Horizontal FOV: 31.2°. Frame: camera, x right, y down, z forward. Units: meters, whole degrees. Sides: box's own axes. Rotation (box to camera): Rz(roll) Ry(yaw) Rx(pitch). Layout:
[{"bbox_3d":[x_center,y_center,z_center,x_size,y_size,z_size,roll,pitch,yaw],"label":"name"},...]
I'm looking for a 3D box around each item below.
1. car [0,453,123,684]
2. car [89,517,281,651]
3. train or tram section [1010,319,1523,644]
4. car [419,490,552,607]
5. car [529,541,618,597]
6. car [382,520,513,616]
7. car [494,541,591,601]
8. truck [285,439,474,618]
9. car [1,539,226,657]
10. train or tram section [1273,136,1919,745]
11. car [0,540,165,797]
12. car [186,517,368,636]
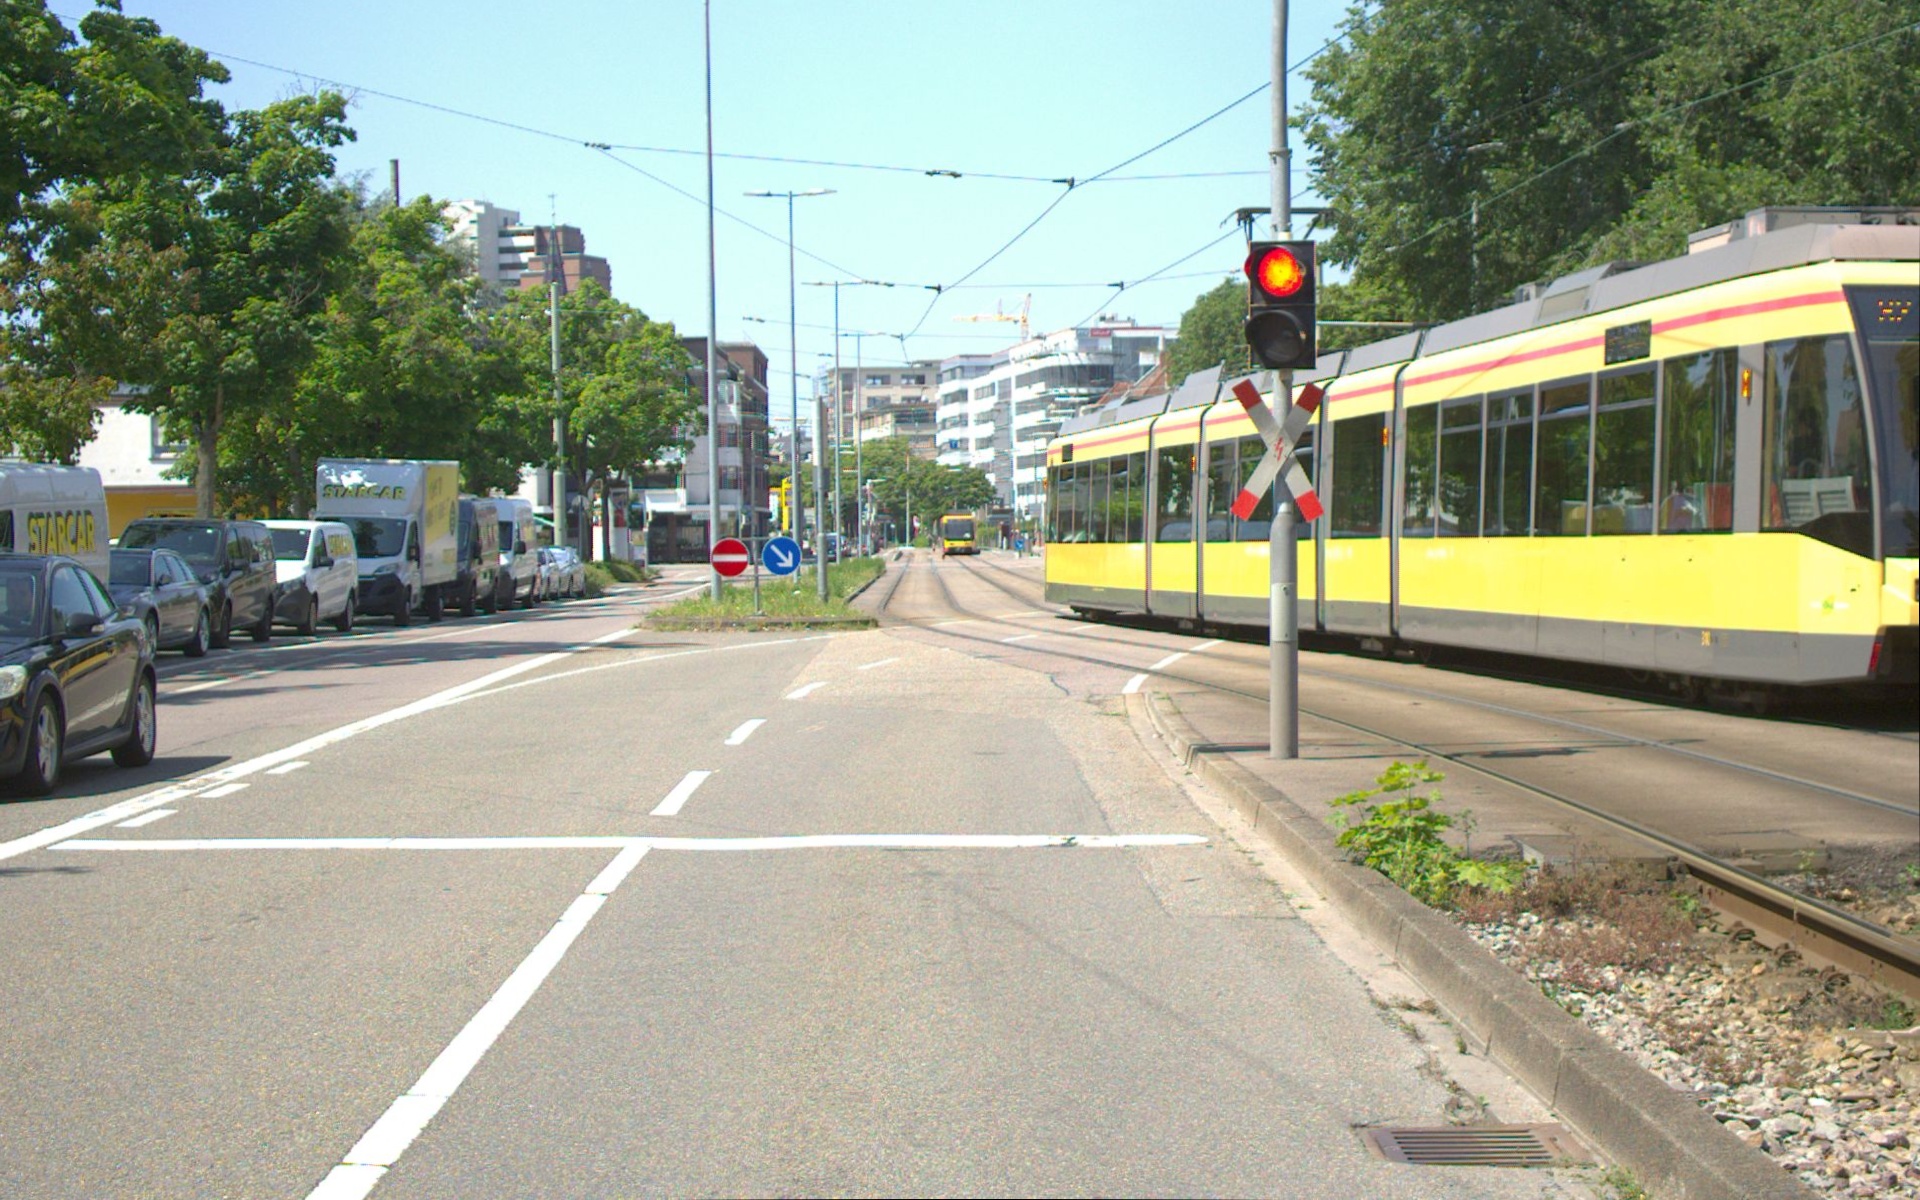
[{"bbox_3d":[-11.322,-0.397,38.549,2.157,2.478,6.193,1,1,2],"label":"car"},{"bbox_3d":[-11.540,-0.283,51.439,1.868,1.888,4.271,-1,1,0],"label":"car"},{"bbox_3d":[3.638,-1.598,49.120,2.943,3.679,20.289,0,1,-7],"label":"train or tram section"},{"bbox_3d":[-11.225,-1.245,81.743,2.157,2.630,5.611,2,1,2],"label":"car"},{"bbox_3d":[-11.545,-0.937,102.977,2.061,1.576,4.871,-1,1,0],"label":"car"},{"bbox_3d":[-11.026,-0.728,74.229,2.061,1.970,4.871,-1,1,0],"label":"car"},{"bbox_3d":[-11.548,-0.824,95.380,2.061,1.576,4.871,-1,1,0],"label":"car"},{"bbox_3d":[-11.164,-1.404,66.697,2.157,3.199,7.082,2,1,2],"label":"truck"},{"bbox_3d":[-11.139,-0.059,45.539,1.868,1.432,4.343,-1,1,0],"label":"car"},{"bbox_3d":[5.914,-1.196,30.078,2.943,3.679,18.393,0,1,-5],"label":"train or tram section"},{"bbox_3d":[-6.138,0.385,20.979,1.678,1.393,4.006,-3,1,-1],"label":"car"},{"bbox_3d":[-11.488,-0.436,58.121,2.061,1.891,4.871,-1,1,0],"label":"car"}]
